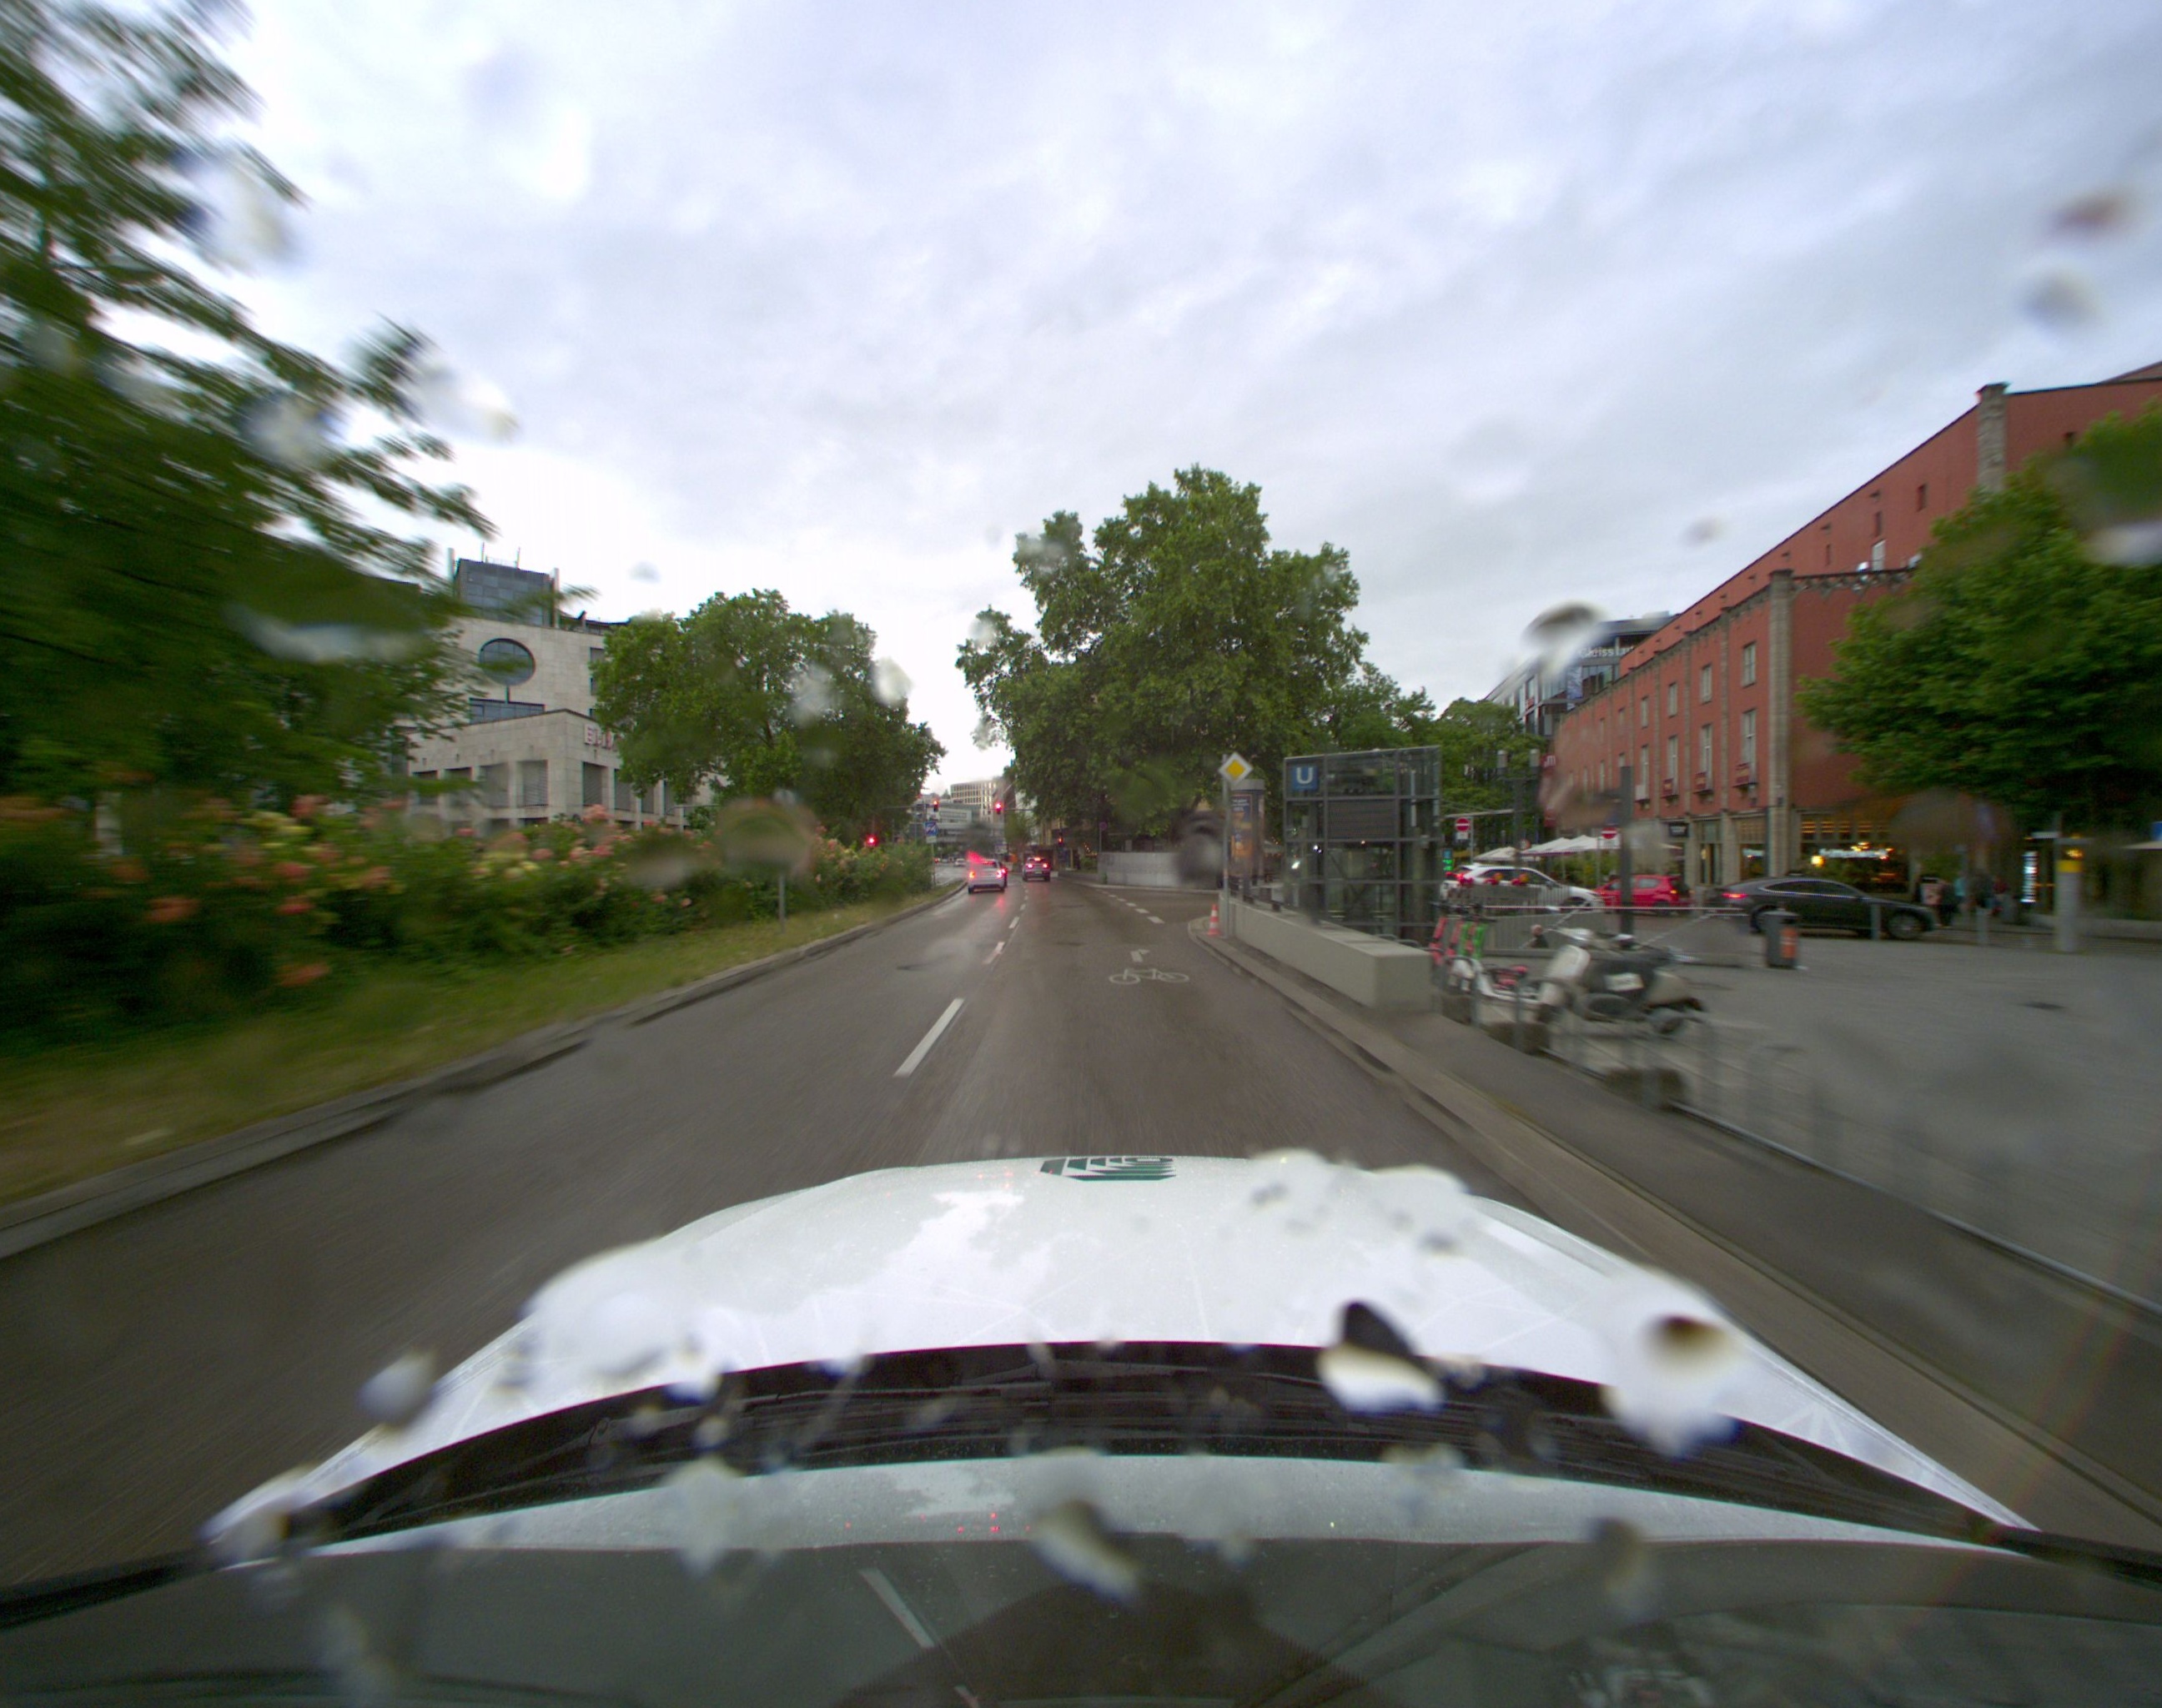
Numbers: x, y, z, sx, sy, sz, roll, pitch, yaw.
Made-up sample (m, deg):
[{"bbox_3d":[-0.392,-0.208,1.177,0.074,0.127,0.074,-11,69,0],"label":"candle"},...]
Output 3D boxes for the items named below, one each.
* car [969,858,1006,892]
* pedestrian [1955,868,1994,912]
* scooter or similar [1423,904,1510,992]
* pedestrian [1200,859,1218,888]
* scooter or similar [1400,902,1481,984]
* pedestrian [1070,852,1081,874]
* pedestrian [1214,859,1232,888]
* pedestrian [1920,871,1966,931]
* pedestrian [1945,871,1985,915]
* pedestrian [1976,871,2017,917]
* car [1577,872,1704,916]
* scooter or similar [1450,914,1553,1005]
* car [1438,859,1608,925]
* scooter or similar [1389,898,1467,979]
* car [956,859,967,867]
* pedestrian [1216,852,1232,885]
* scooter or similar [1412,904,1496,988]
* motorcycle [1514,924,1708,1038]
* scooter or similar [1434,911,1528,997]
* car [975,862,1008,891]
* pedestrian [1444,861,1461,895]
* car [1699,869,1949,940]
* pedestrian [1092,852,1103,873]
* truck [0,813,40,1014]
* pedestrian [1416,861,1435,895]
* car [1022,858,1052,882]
[{"bbox_3d":[-4.378,0.959,38.480,1.588,1.491,3.498,-2,0,-6],"label":"car"},{"bbox_3d":[33.160,1.323,30.222,0.747,1.597,0.611,1,-1,9],"label":"pedestrian"},{"bbox_3d":[5.624,1.365,11.906,1.109,1.237,0.365,1,0,-1],"label":"scooter or similar"},{"bbox_3d":[6.343,0.971,40.452,0.682,1.410,0.904,2,-1,-2],"label":"pedestrian"},{"bbox_3d":[5.615,1.380,12.731,1.109,1.234,0.365,1,0,-1],"label":"scooter or similar"},{"bbox_3d":[-0.475,0.726,67.146,0.857,1.780,0.717,-1,-1,-3],"label":"pedestrian"},{"bbox_3d":[7.061,0.963,40.521,0.682,1.410,0.904,2,-1,-2],"label":"pedestrian"},{"bbox_3d":[27.065,1.458,25.586,0.606,1.809,0.808,1,-1,2],"label":"pedestrian"},{"bbox_3d":[32.087,1.398,29.561,0.747,1.560,0.611,1,-1,9],"label":"pedestrian"},{"bbox_3d":[33.176,1.444,29.515,0.747,1.597,0.611,1,-1,9],"label":"pedestrian"},{"bbox_3d":[20.438,1.437,29.887,1.617,1.416,3.498,2,0,-26],"label":"car"},{"bbox_3d":[5.637,1.405,10.955,1.109,1.158,0.531,1,0,-1],"label":"scooter or similar"},{"bbox_3d":[13.050,1.092,24.292,4.069,1.621,1.869,3,-1,12],"label":"car"},{"bbox_3d":[5.588,1.352,13.125,1.109,1.269,0.365,1,0,-1],"label":"scooter or similar"},{"bbox_3d":[-21.811,1.651,148.701,1.978,1.463,4.332,-2,0,-9],"label":"car"},{"bbox_3d":[7.558,0.779,43.030,0.716,1.702,0.622,-1,-1,25],"label":"pedestrian"},{"bbox_3d":[5.628,1.379,12.302,1.109,1.216,0.365,1,0,-1],"label":"scooter or similar"},{"bbox_3d":[5.844,1.391,9.022,1.771,1.158,0.607,1,0,-1],"label":"motorcycle"},{"bbox_3d":[5.627,1.398,11.477,1.109,1.158,0.443,1,0,-1],"label":"scooter or similar"},{"bbox_3d":[-4.975,1.191,45.365,1.689,1.463,4.121,-2,0,-6],"label":"car"},{"bbox_3d":[19.778,1.269,43.398,0.588,1.780,0.747,1,-1,5],"label":"pedestrian"},{"bbox_3d":[20.232,1.318,22.453,4.698,1.691,2.014,1,0,17],"label":"car"},{"bbox_3d":[1.430,0.745,69.709,0.857,1.780,0.717,-1,-1,-3],"label":"pedestrian"},{"bbox_3d":[-15.614,0.735,6.459,3.349,2.510,8.492,-1,0,7],"label":"truck"},{"bbox_3d":[18.276,1.283,43.230,0.689,1.780,0.875,1,0,5],"label":"pedestrian"},{"bbox_3d":[-3.122,1.123,57.485,1.944,1.666,4.336,0,-1,-6],"label":"car"}]
